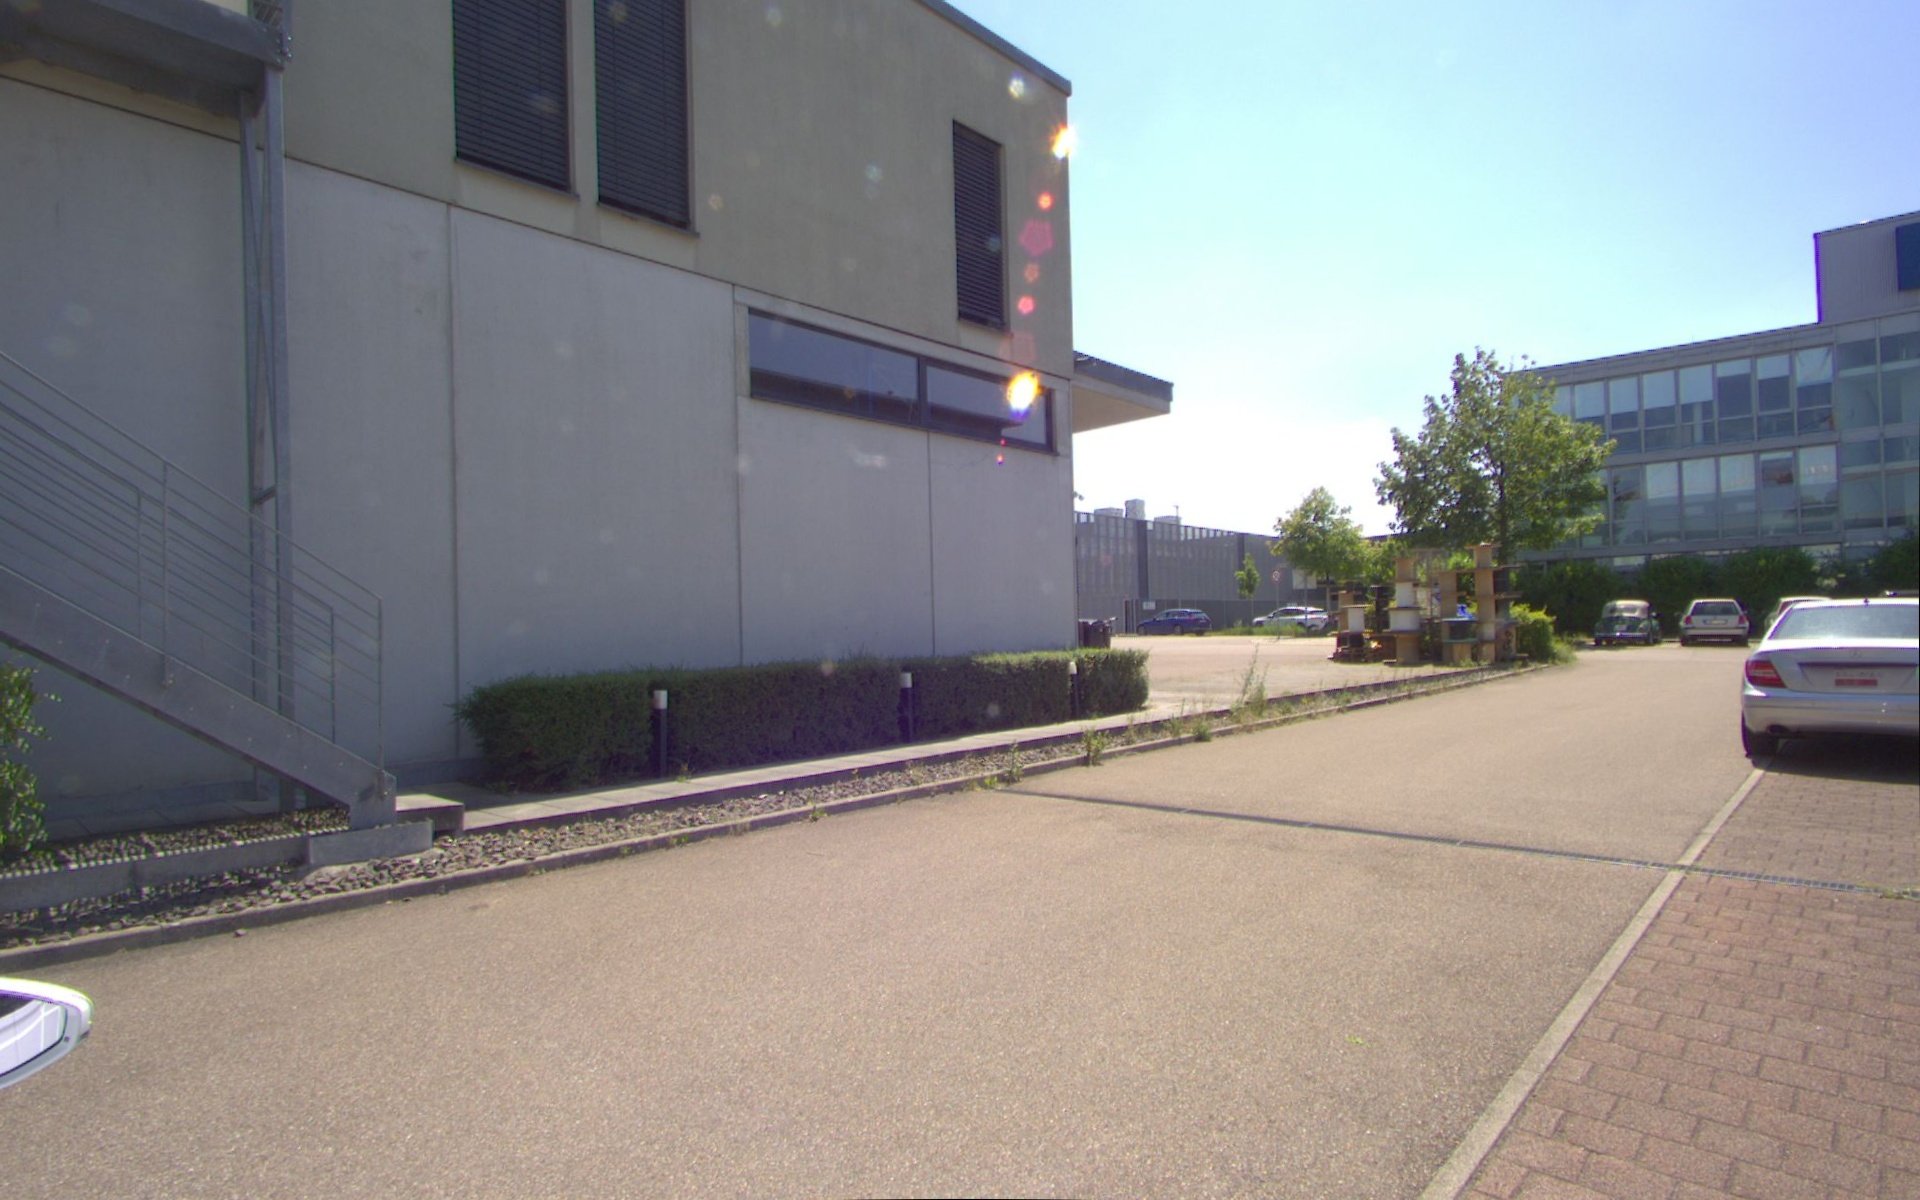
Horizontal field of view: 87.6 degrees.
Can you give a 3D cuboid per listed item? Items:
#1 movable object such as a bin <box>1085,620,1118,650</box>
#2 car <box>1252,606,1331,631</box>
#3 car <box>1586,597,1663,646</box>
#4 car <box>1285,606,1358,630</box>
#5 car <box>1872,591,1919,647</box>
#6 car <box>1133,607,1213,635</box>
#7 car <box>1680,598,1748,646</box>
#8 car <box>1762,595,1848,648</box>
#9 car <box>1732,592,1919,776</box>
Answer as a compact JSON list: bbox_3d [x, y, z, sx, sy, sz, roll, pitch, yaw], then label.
[{"bbox_3d":[4.736,1.171,33.504,0.809,0.993,0.803,-1,-1,43],"label":"movable object such as a bin"},{"bbox_3d":[19.935,1.143,60.332,1.727,1.433,4.421,1,-2,-33],"label":"car"},{"bbox_3d":[22.314,0.736,33.564,1.729,1.538,3.969,-1,-2,40],"label":"car"},{"bbox_3d":[22.327,1.154,62.024,1.727,1.433,4.041,1,-2,-33],"label":"car"},{"bbox_3d":[27.792,0.551,29.196,1.731,1.538,3.966,-1,-2,43],"label":"car"},{"bbox_3d":[11.688,1.173,55.133,1.726,1.433,4.423,1,-2,-32],"label":"car"},{"bbox_3d":[24.183,0.712,32.211,1.652,1.459,3.975,-1,-2,36],"label":"car"},{"bbox_3d":[26.170,0.667,31.111,1.727,1.538,3.975,-1,-2,36],"label":"car"},{"bbox_3d":[8.648,0.704,9.496,1.712,1.455,3.683,-1,-2,44],"label":"car"}]
